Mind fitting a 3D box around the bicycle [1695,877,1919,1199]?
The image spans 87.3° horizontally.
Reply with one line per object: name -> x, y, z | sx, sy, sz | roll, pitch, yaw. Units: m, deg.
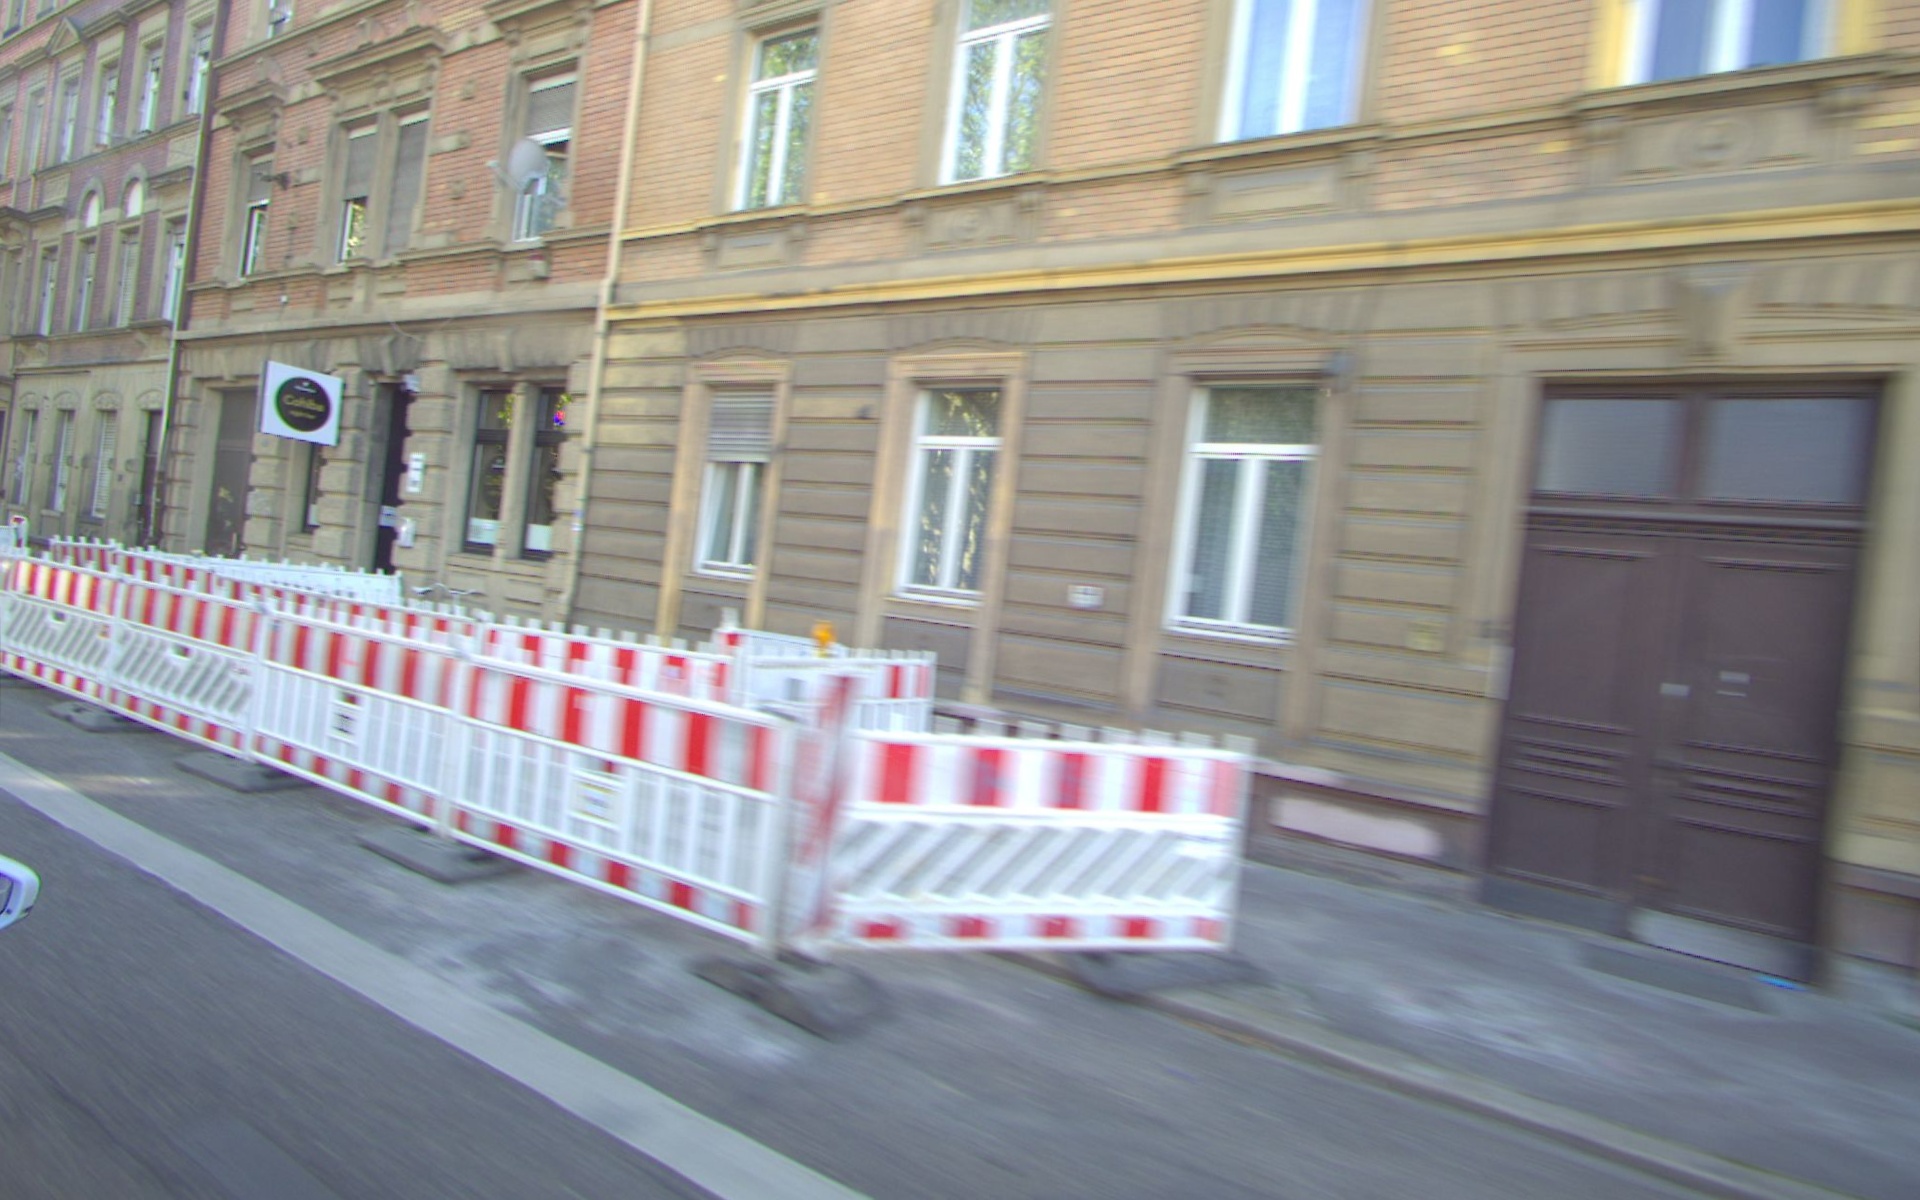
bicycle -> 2.858, 1.339, 1.558 | 2.658, 1.127, 0.683 | 7, -2, 24
